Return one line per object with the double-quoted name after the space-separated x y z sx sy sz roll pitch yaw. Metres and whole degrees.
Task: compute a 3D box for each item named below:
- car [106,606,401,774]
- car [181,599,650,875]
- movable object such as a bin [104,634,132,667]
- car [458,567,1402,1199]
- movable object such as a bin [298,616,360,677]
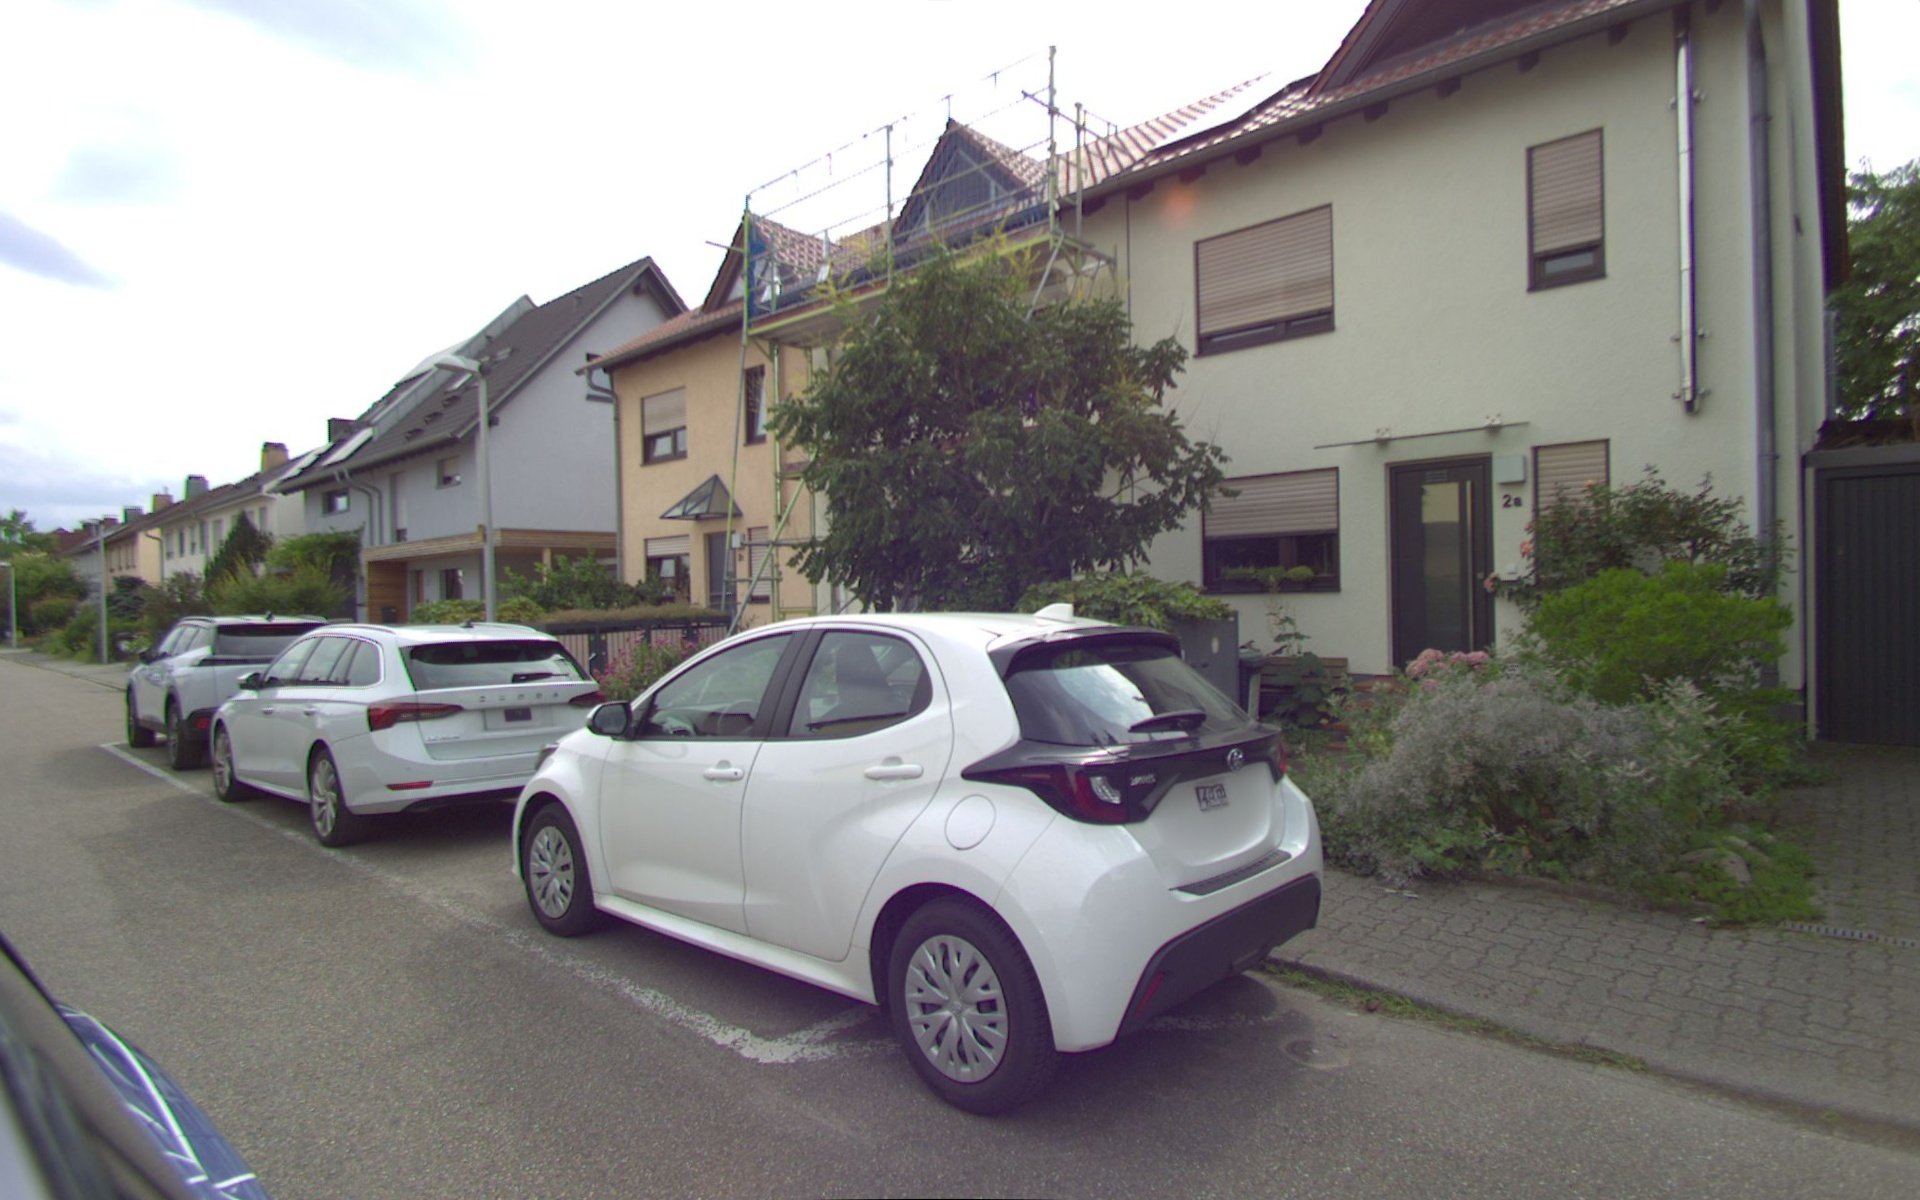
-8.440 0.911 11.898 4.634 1.568 1.913 -2 -1 43 "car"
-4.589 0.840 8.108 4.846 1.574 1.791 -2 -1 42 "car"
-27.122 1.607 32.599 0.665 1.035 0.595 -2 -1 43 "movable object such as a bin"
-0.492 0.733 4.502 4.140 1.543 1.772 -2 -1 43 "car"
-14.114 1.027 22.650 1.000 1.322 0.940 -2 -1 41 "movable object such as a bin"
